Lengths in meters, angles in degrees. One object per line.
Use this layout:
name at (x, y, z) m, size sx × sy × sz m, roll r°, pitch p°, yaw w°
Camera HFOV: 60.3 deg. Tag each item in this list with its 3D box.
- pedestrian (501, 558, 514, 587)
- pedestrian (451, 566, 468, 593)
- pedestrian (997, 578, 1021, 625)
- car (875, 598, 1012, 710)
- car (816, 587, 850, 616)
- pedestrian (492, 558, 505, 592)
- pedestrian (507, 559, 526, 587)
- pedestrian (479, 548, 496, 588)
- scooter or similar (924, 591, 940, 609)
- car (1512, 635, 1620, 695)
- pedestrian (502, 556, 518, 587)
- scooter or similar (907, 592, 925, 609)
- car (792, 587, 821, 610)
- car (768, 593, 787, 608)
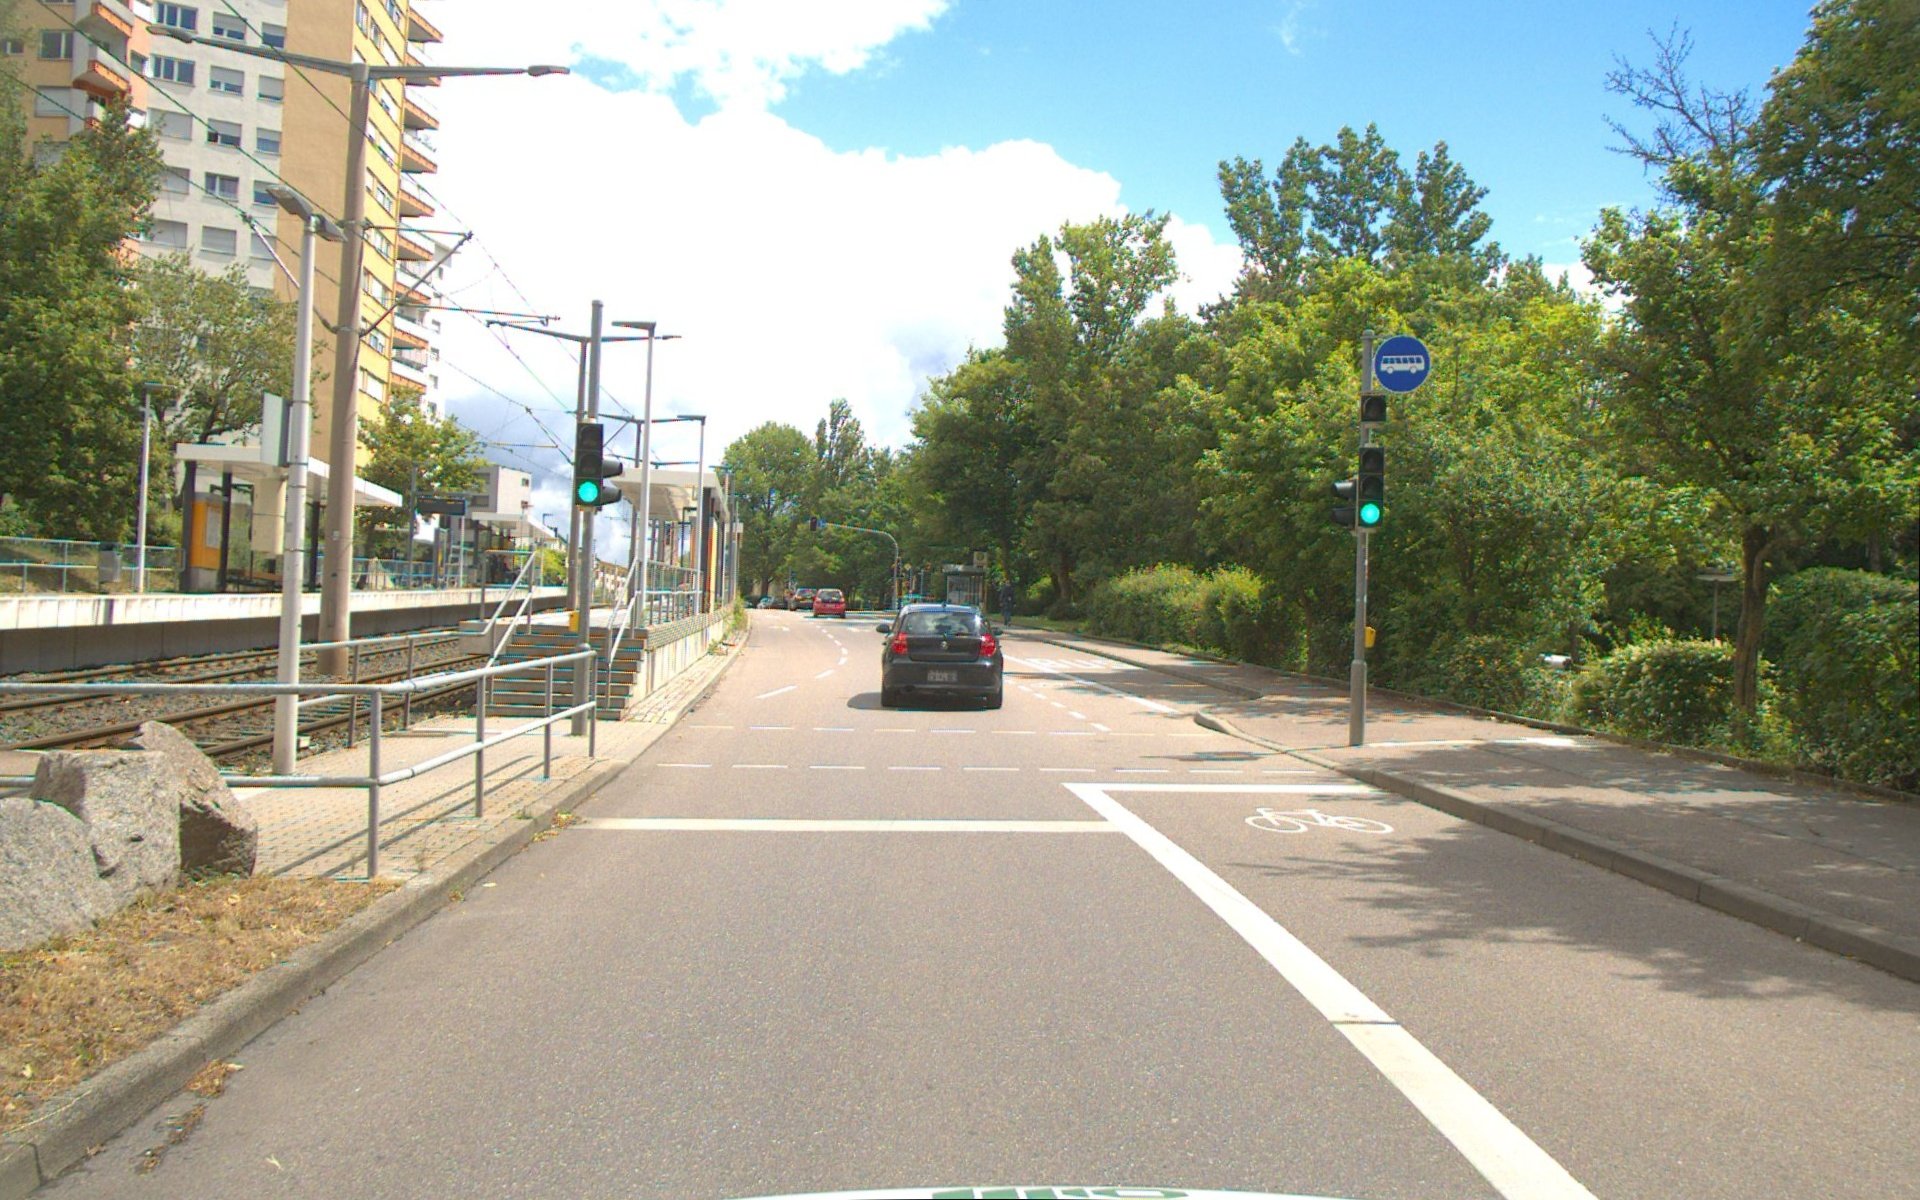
pedestrian at (-20.165, -1.218, 73.715) m, size 0.512 × 1.258 × 0.540 m, roll 1°, pitch 0°, yaw -20°
pedestrian at (-32.162, -1.311, 106.246) m, size 0.840 × 1.726 × 0.689 m, roll 1°, pitch 0°, yaw 2°
pedestrian at (2.072, 0.072, 70.267) m, size 0.786 × 1.928 × 1.268 m, roll 3°, pitch 0°, yaw -7°
car at (-0.304, 0.718, 23.713) m, size 1.622 × 1.443 × 3.512 m, roll 1°, pitch 0°, yaw -6°
car at (-6.550, 0.062, 84.971) m, size 1.564 × 1.443 × 3.511 m, roll 1°, pitch 0°, yaw -7°
pedestrian at (-19.821, -1.080, 71.027) m, size 0.533 × 1.404 × 0.519 m, roll 1°, pitch -3°, yaw -17°
pedestrian at (-20.324, -1.231, 75.814) m, size 0.728 × 1.258 × 0.517 m, roll 1°, pitch 0°, yaw -8°
pedestrian at (-20.084, -1.346, 70.287) m, size 0.516 × 1.673 × 0.556 m, roll 1°, pitch 0°, yaw -40°
scooter or similar at (-2.022, -0.018, 120.586) m, size 1.090 × 1.280 × 0.330 m, roll 1°, pitch 0°, yaw -20°
car at (18.818, 1.991, 51.520) m, size 1.787 × 1.646 × 3.999 m, roll 2°, pitch 0°, yaw -1°
pedestrian at (-20.353, -1.275, 74.788) m, size 0.631 × 1.393 × 0.506 m, roll 1°, pitch 0°, yaw -8°
scooter or similar at (-3.196, 0.007, 119.598) m, size 1.271 × 1.210 × 0.382 m, roll 1°, pitch 0°, yaw -24°
car at (-9.863, -0.114, 105.942) m, size 1.624 × 1.443 × 3.509 m, roll 1°, pitch 0°, yaw -9°
car at (-17.522, 0.024, 158.675) m, size 1.622 × 1.443 × 3.514 m, roll 1°, pitch 0°, yaw -4°
